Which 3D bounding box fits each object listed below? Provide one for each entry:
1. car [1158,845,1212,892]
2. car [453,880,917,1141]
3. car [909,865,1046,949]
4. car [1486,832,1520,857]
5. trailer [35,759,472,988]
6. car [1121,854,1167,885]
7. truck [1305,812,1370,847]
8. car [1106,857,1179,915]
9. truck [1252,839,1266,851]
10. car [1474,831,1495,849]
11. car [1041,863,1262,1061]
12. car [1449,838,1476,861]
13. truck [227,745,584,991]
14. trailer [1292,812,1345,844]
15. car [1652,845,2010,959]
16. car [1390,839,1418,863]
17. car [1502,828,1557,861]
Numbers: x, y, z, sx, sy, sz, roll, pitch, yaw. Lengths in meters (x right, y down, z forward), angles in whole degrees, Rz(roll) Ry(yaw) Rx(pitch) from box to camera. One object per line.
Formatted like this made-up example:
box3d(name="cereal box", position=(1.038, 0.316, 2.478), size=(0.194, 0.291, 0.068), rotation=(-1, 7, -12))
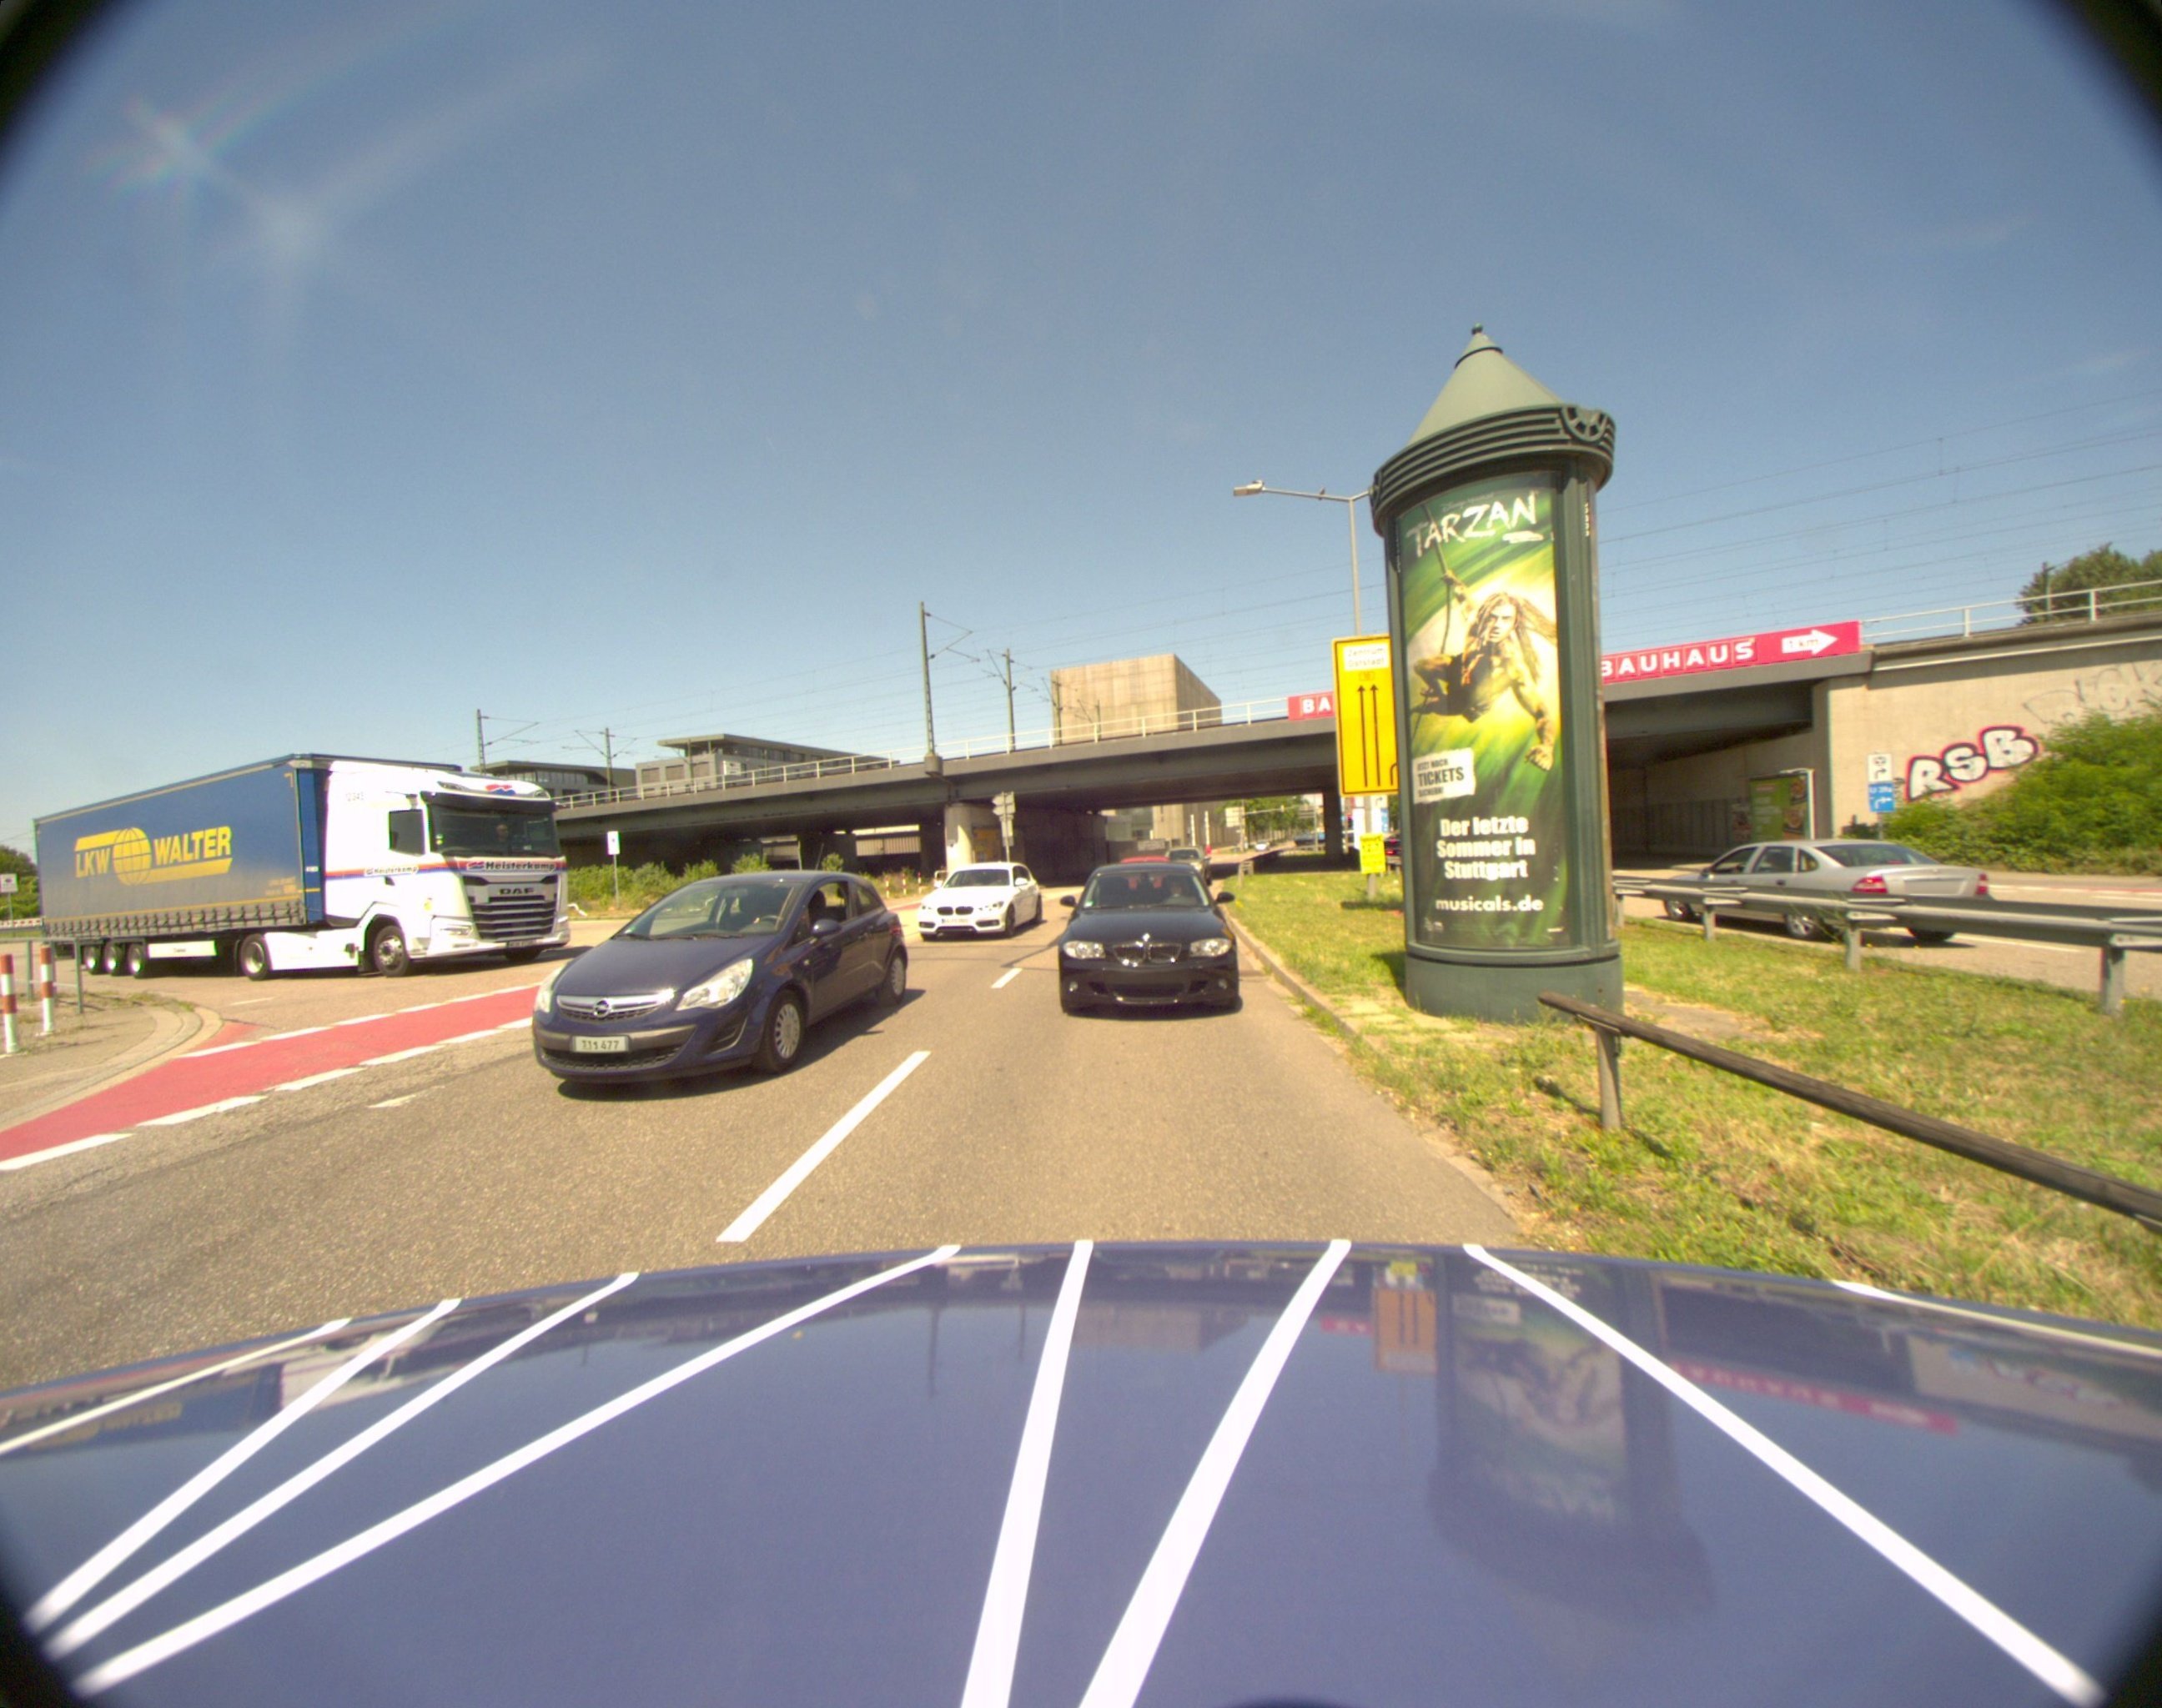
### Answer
box3d(name="car", position=(4.282, 0.534, 30.834), size=(1.844, 1.686, 3.702), rotation=(-2, 1, 12))
box3d(name="car", position=(-2.861, 1.035, 6.582), size=(1.649, 1.435, 3.893), rotation=(-2, 0, 6))
box3d(name="car", position=(-1.979, 0.984, 15.727), size=(1.761, 1.435, 4.055), rotation=(-1, 0, 8))
box3d(name="car", position=(26.515, -0.622, 47.844), size=(1.571, 1.494, 3.412), rotation=(-2, 1, 25))
box3d(name="trailer", position=(-19.583, 0.663, 17.527), size=(13.873, 4.066, 2.504), rotation=(-3, 1, 25))
box3d(name="car", position=(3.391, 0.782, 40.416), size=(1.715, 1.434, 4.004), rotation=(-2, 1, 14))
box3d(name="truck", position=(27.356, -2.588, 81.265), size=(3.025, 3.397, 6.554), rotation=(-3, 1, -21))
box3d(name="car", position=(1.778, 0.807, 20.913), size=(1.645, 1.391, 4.055), rotation=(-1, 0, 10))
box3d(name="truck", position=(24.131, -1.195, 102.830), size=(1.729, 1.493, 4.003), rotation=(-2, 1, 13))
box3d(name="car", position=(28.684, -0.996, 54.051), size=(1.183, 1.241, 2.696), rotation=(-2, 1, 25))
box3d(name="car", position=(0.681, 0.879, 8.004), size=(1.681, 1.409, 4.057), rotation=(-2, 1, 4))
box3d(name="car", position=(21.582, -0.268, 43.030), size=(1.269, 1.178, 2.782), rotation=(-2, 1, 25))
box3d(name="truck", position=(-13.081, 0.303, 14.787), size=(5.750, 4.078, 2.579), rotation=(-2, 1, 20))
box3d(name="trailer", position=(27.545, -2.890, 88.955), size=(2.962, 3.354, 13.897), rotation=(-2, 1, 5))
box3d(name="car", position=(10.825, 0.571, 11.490), size=(1.637, 1.395, 4.223), rotation=(-1, 1, 7))
box3d(name="car", position=(18.646, -0.193, 43.850), size=(1.410, 1.311, 3.266), rotation=(-2, 1, 24))
box3d(name="car", position=(24.718, -0.555, 42.038), size=(1.774, 1.658, 4.019), rotation=(-2, 1, 19))
